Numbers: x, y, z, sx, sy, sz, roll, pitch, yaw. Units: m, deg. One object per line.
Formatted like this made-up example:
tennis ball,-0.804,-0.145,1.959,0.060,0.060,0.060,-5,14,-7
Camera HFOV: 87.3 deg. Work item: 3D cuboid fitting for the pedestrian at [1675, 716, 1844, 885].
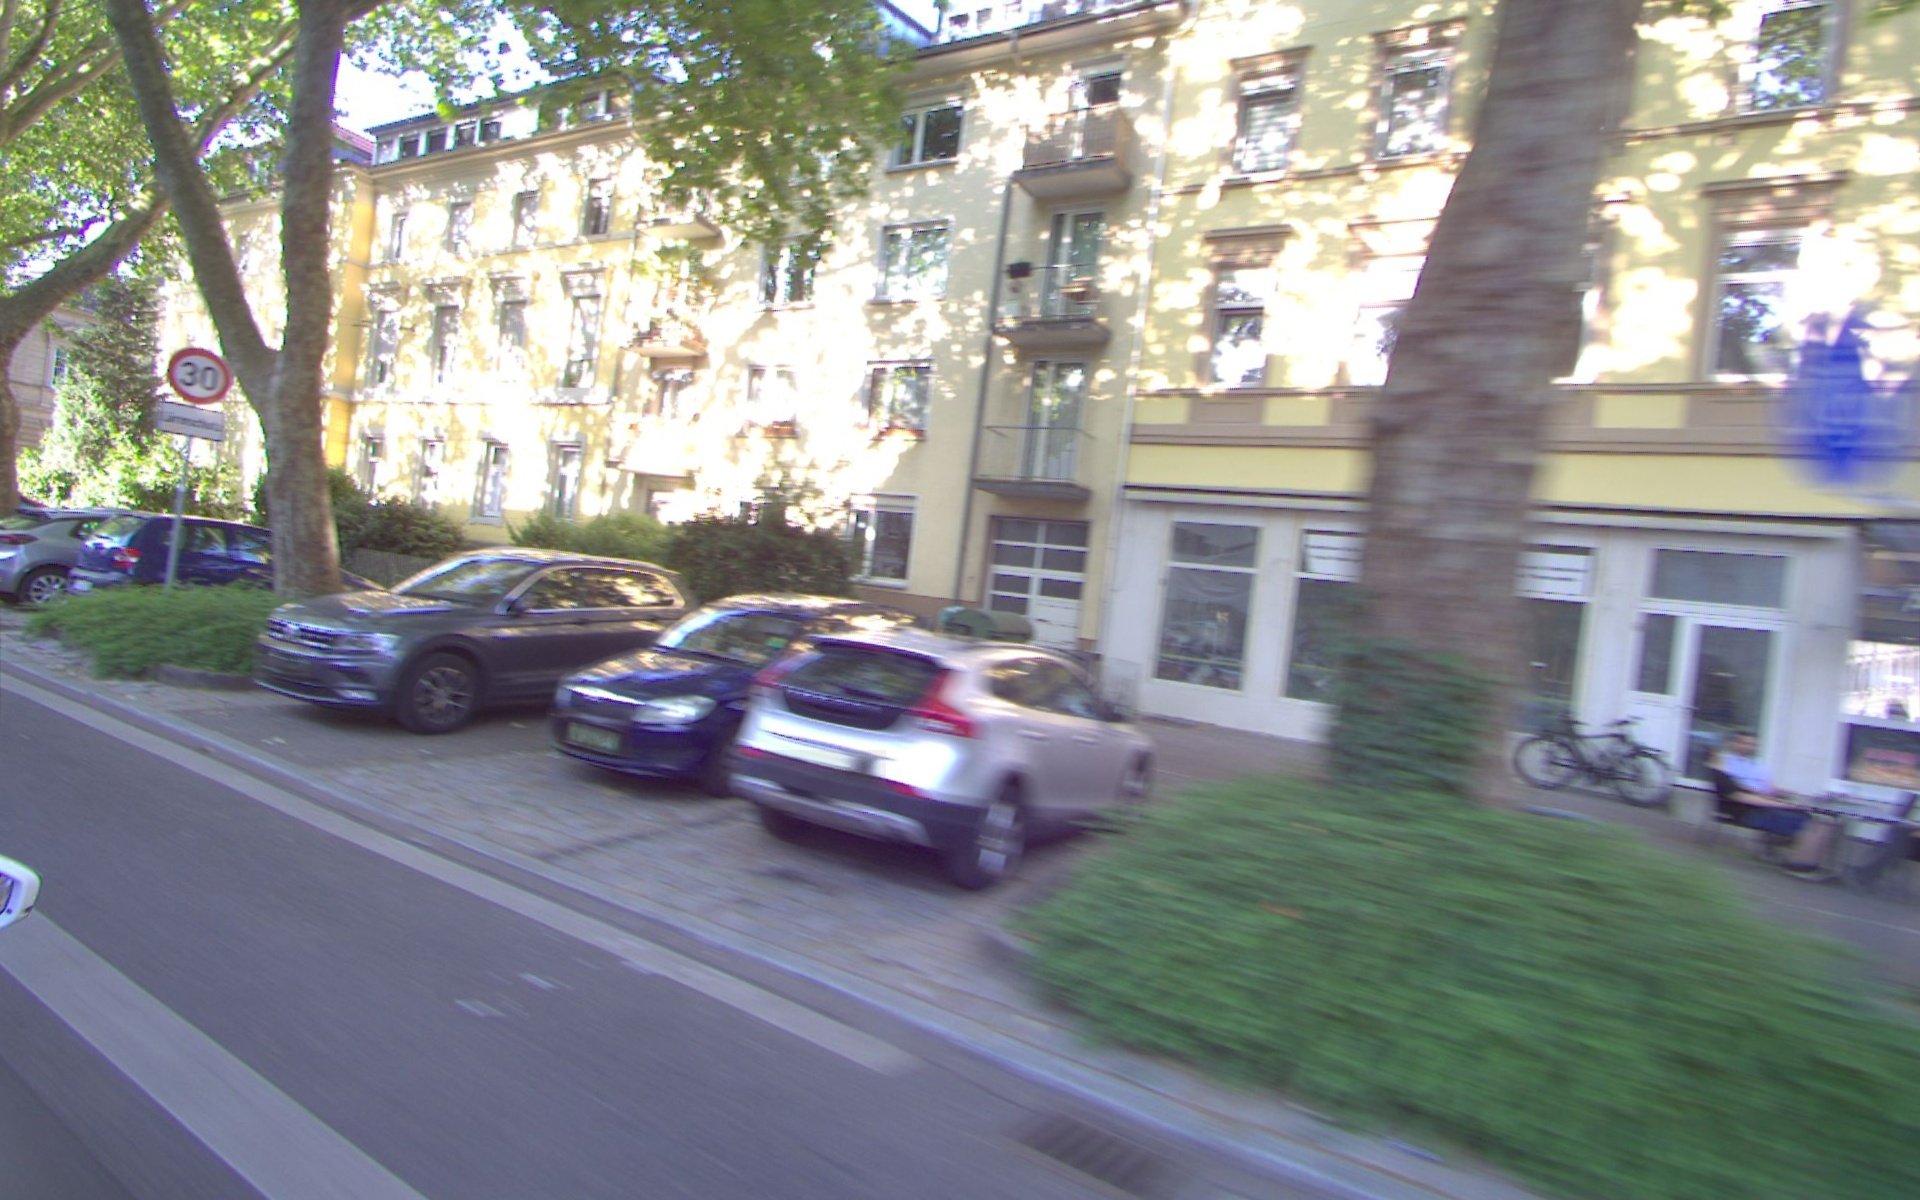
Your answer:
pedestrian,7.686,1.903,9.704,0.481,1.392,1.049,7,0,-27

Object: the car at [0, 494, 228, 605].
car,-14.762,-0.857,16.803,1.665,1.543,3.672,7,2,31

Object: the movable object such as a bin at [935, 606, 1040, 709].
movable object such as a bin,0.445,0.906,15.975,1.099,1.456,1.168,7,1,32

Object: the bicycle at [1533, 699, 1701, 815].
bicycle,8.651,2.045,13.321,1.717,1.171,0.470,8,2,32

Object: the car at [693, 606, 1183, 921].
car,0.158,1.003,7.462,1.653,1.498,4.034,7,0,30

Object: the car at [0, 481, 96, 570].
car,-20.079,-1.629,20.117,1.737,1.669,3.824,6,0,29

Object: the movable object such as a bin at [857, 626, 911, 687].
movable object such as a bin,-1.257,0.941,16.751,0.458,0.955,0.748,7,1,32

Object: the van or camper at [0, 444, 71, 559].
van or camper,-24.014,-2.543,22.391,2.248,2.551,5.822,8,1,30

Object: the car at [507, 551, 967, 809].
car,-1.715,0.669,9.101,1.653,1.663,4.034,7,0,30

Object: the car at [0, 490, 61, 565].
car,-22.150,-1.769,21.680,1.640,1.549,3.740,7,0,29

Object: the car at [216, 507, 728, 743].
car,-4.556,0.238,10.119,1.817,1.741,4.266,7,1,29

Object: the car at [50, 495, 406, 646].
car,-9.993,-0.321,14.002,1.515,1.618,3.600,6,-1,32

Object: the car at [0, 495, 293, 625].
car,-12.270,-0.557,14.859,1.665,1.536,3.598,7,1,31

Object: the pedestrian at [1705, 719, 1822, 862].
pedestrian,8.369,1.971,10.494,0.480,1.344,0.683,7,0,-22
